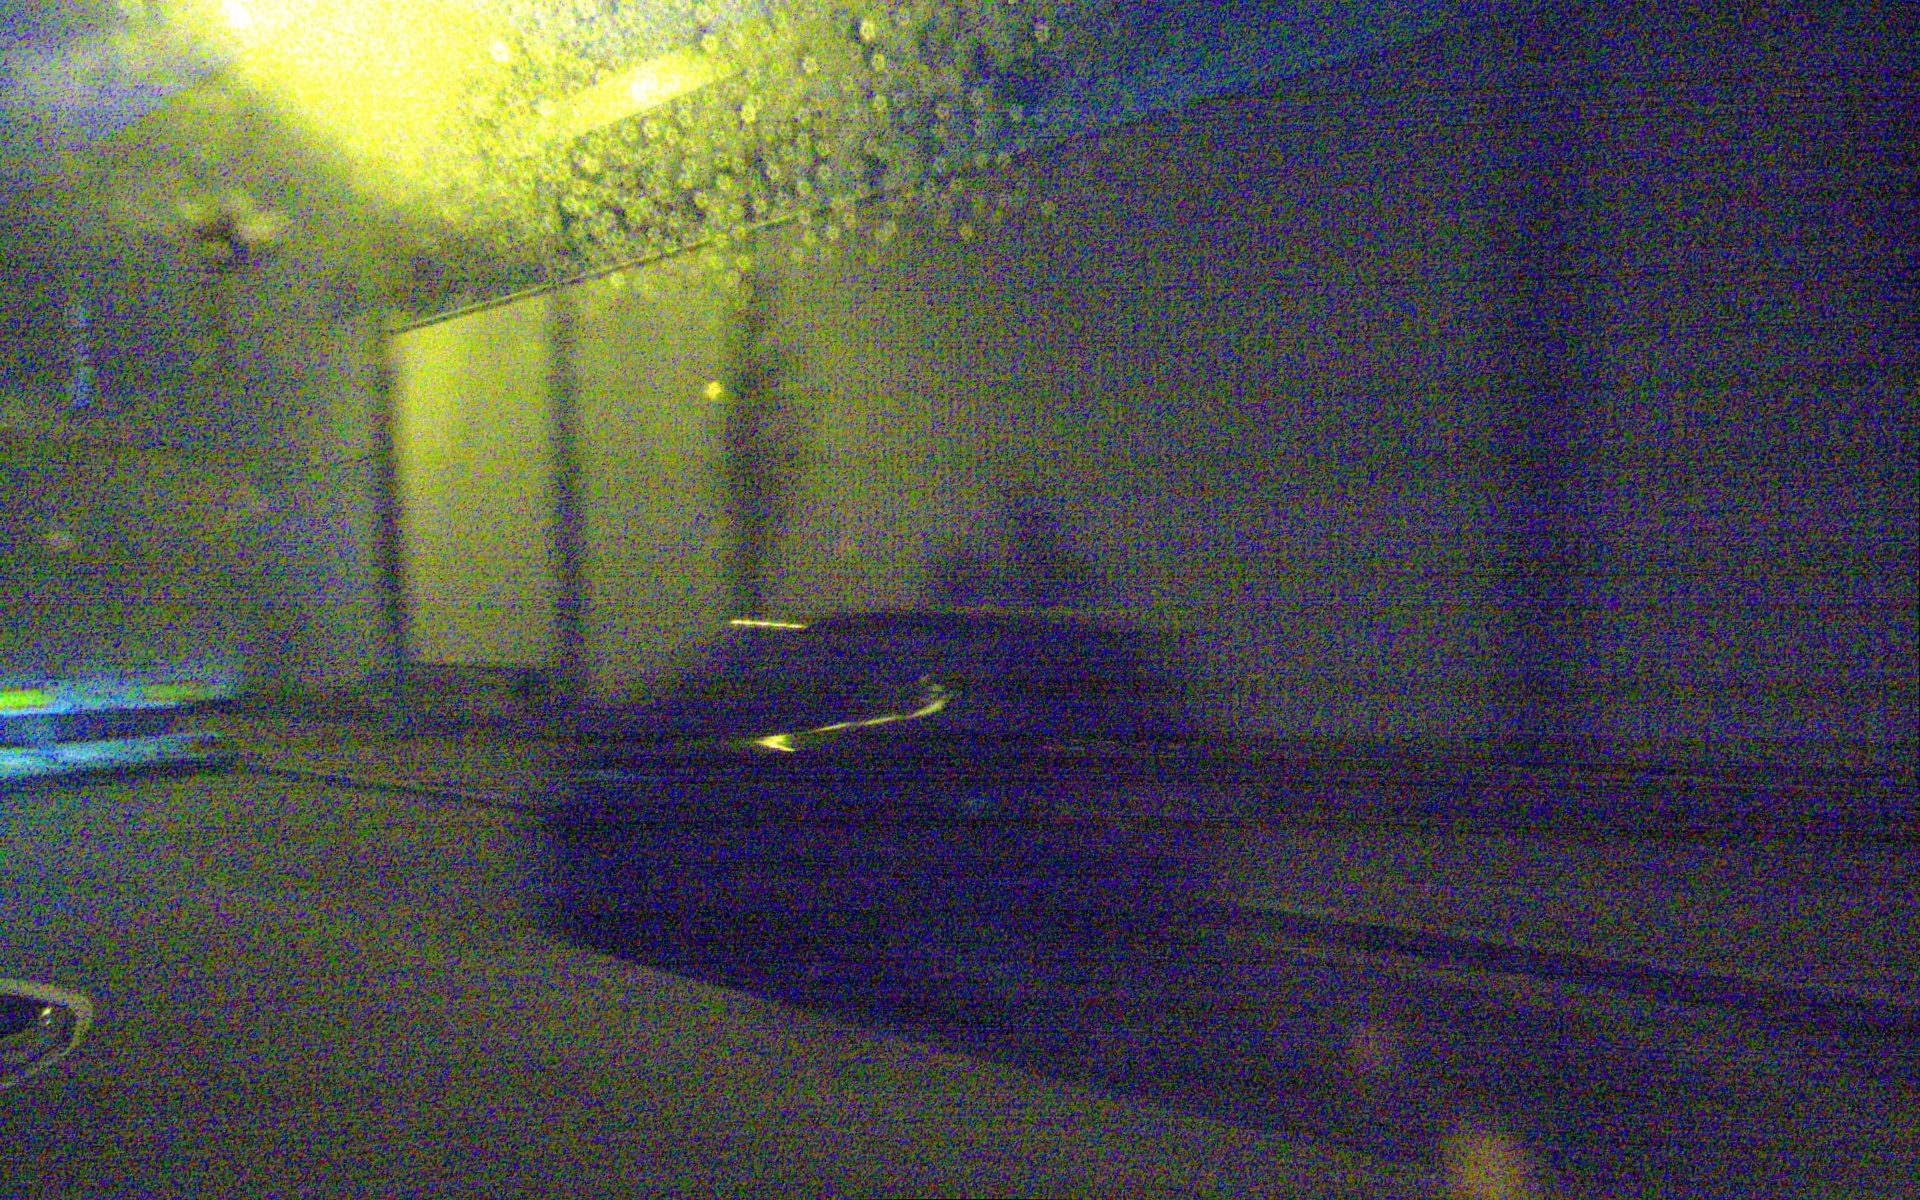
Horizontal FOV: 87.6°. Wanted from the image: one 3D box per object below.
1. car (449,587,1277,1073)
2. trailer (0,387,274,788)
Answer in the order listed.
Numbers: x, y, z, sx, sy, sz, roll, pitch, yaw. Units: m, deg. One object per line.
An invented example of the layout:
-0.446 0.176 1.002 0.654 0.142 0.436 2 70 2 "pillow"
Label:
-0.573 0.781 5.014 3.764 1.539 1.848 -2 1 33 "car"
-11.329 -0.011 11.417 7.692 3.509 2.683 -2 -1 30 "trailer"
